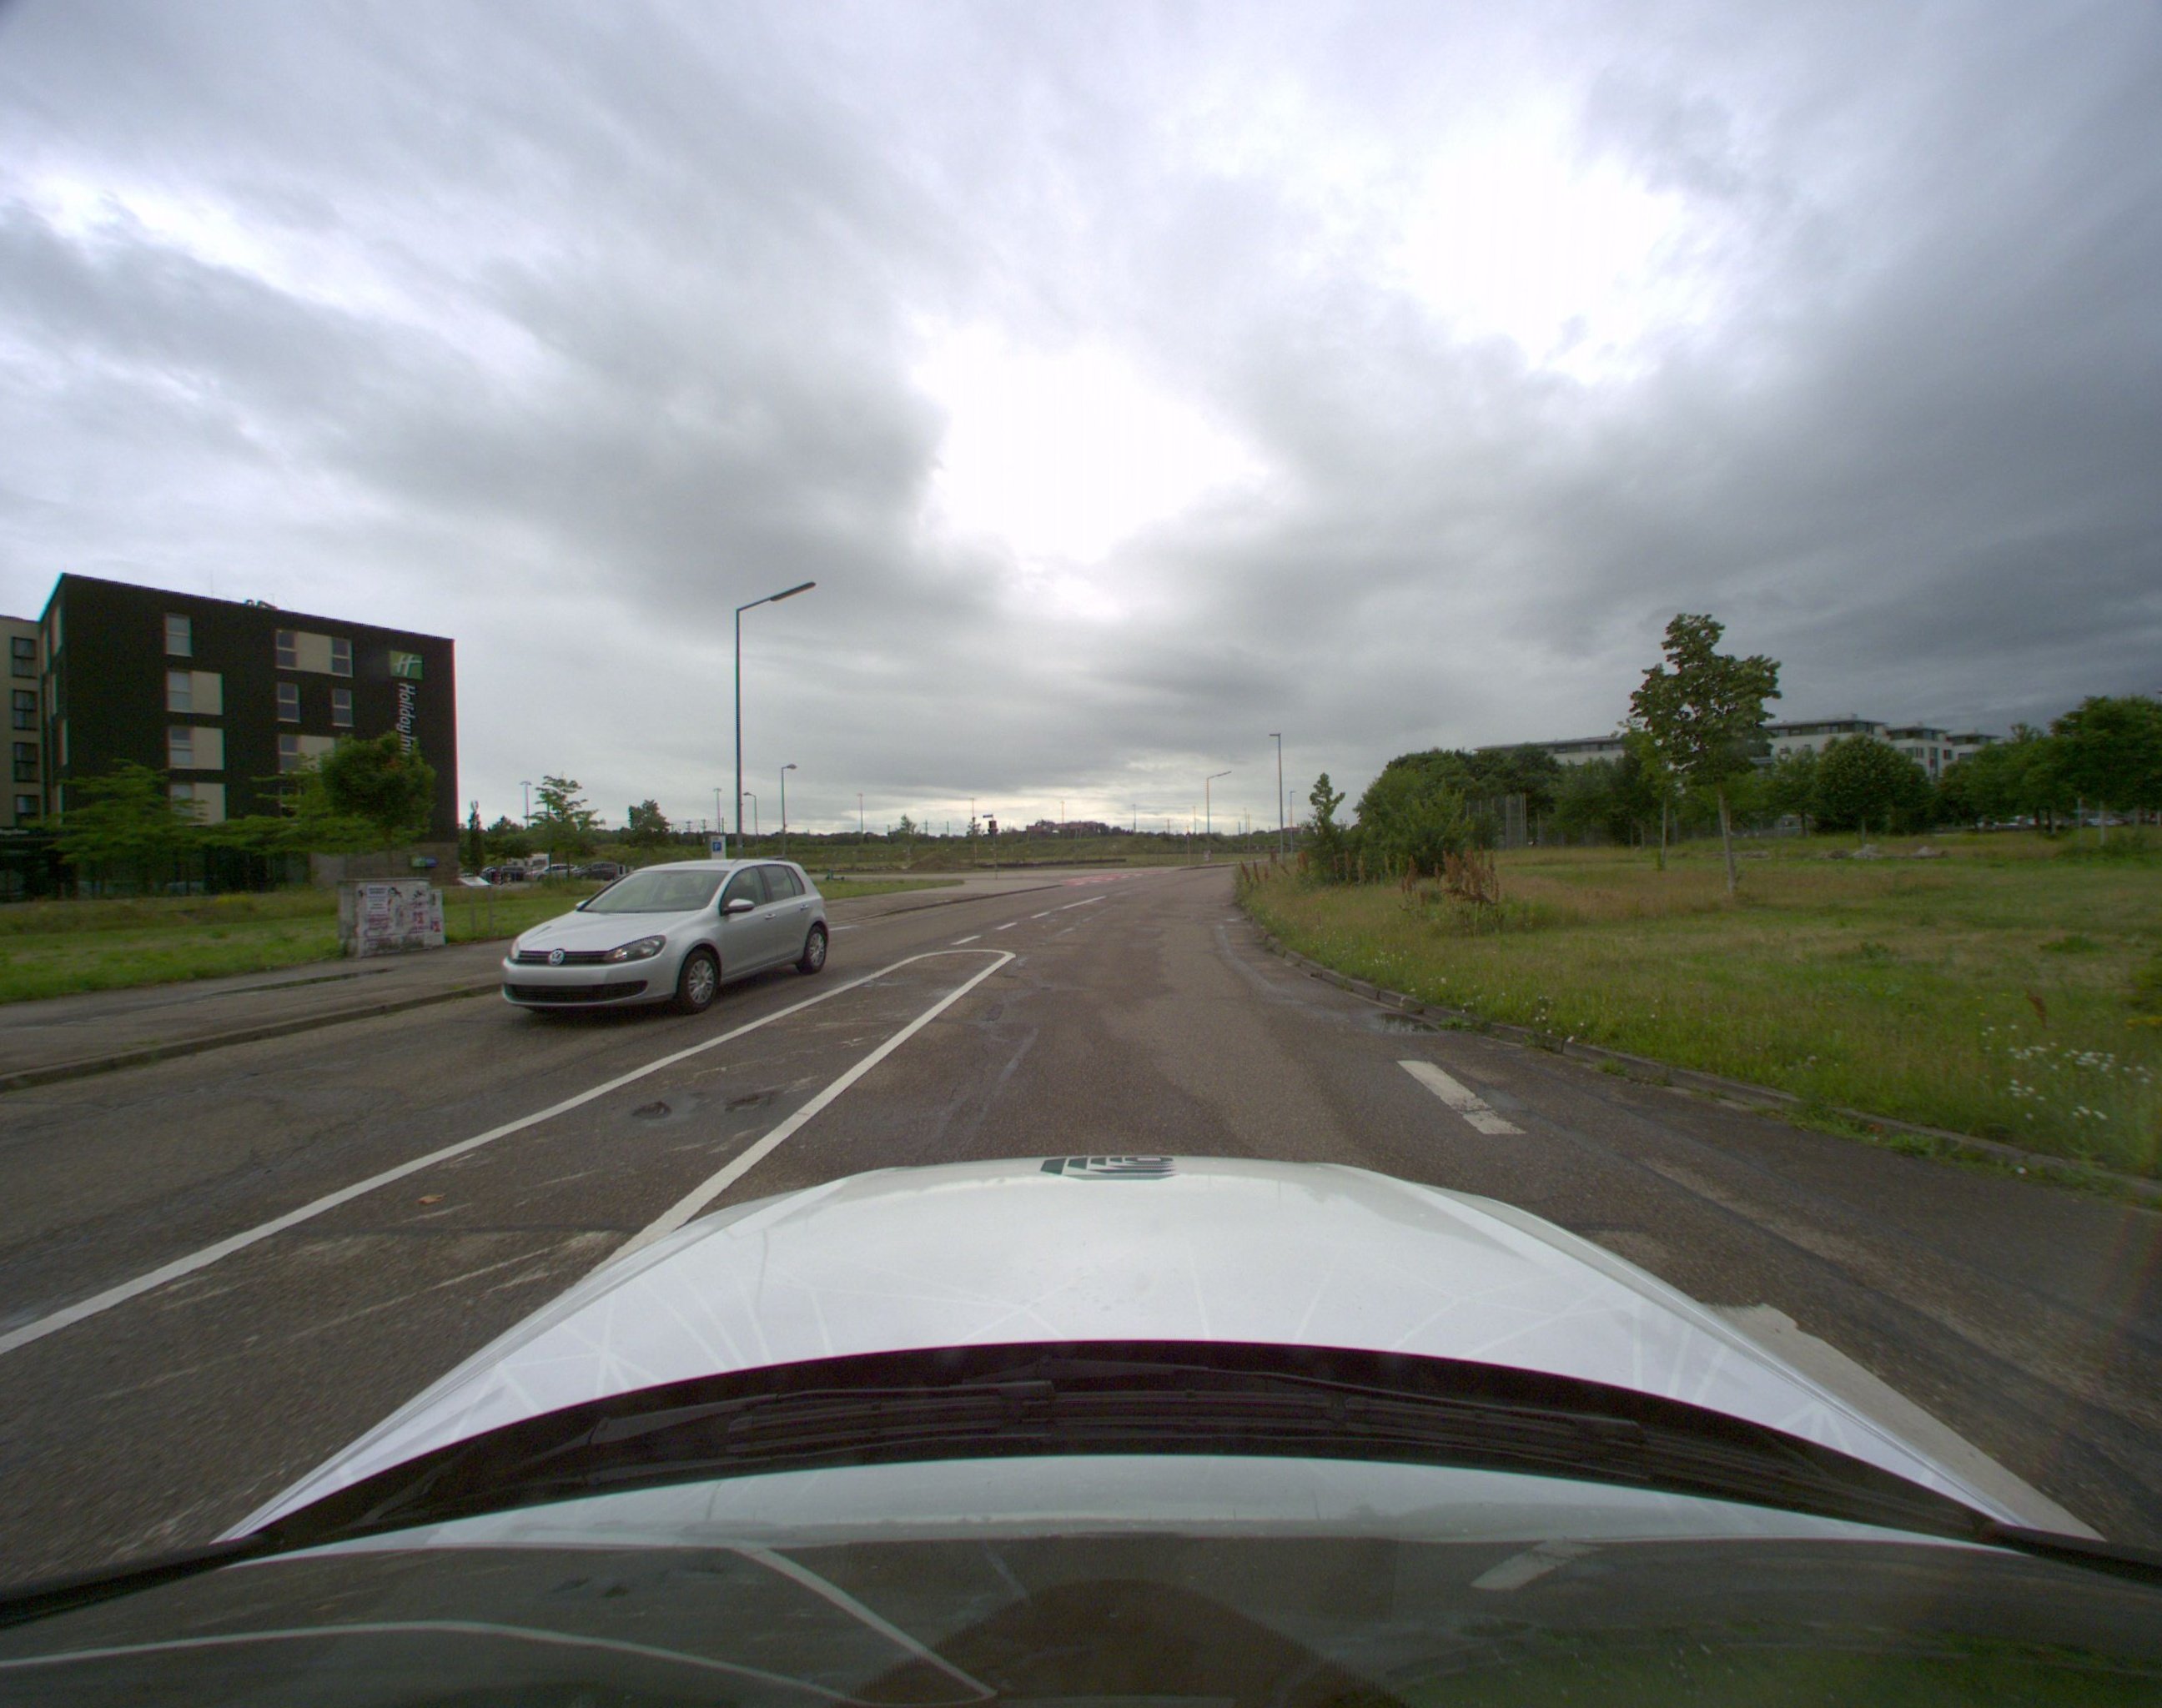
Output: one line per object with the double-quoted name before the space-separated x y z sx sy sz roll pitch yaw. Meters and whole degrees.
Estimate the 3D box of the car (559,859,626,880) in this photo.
"car" -37.865 1.207 63.210 1.676 1.442 4.026 -1 1 33

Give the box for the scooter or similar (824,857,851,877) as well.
"scooter or similar" -14.703 0.774 49.114 1.454 1.168 0.573 -1 0 9

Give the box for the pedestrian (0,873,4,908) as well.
"pedestrian" -49.282 1.655 36.526 0.943 1.570 0.880 -2 1 18

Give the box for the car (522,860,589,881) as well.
"car" -43.637 1.351 67.713 1.975 1.517 4.179 -1 1 27

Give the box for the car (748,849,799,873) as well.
"car" -25.640 0.598 67.879 3.948 1.822 2.013 -1 1 35

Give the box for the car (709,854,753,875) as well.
"car" -30.422 0.930 70.734 3.628 1.752 1.817 -1 1 36

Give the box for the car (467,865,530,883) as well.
"car" -50.131 1.703 70.162 1.723 1.398 4.025 -2 0 31

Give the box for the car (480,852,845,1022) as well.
"car" -4.305 0.715 9.210 1.663 1.461 4.064 0 0 7

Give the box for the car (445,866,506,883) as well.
"car" -54.534 1.828 73.408 1.722 1.398 4.026 -2 0 32

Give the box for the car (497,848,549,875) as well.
"car" -64.894 0.849 94.681 6.491 2.956 2.732 -1 1 35
